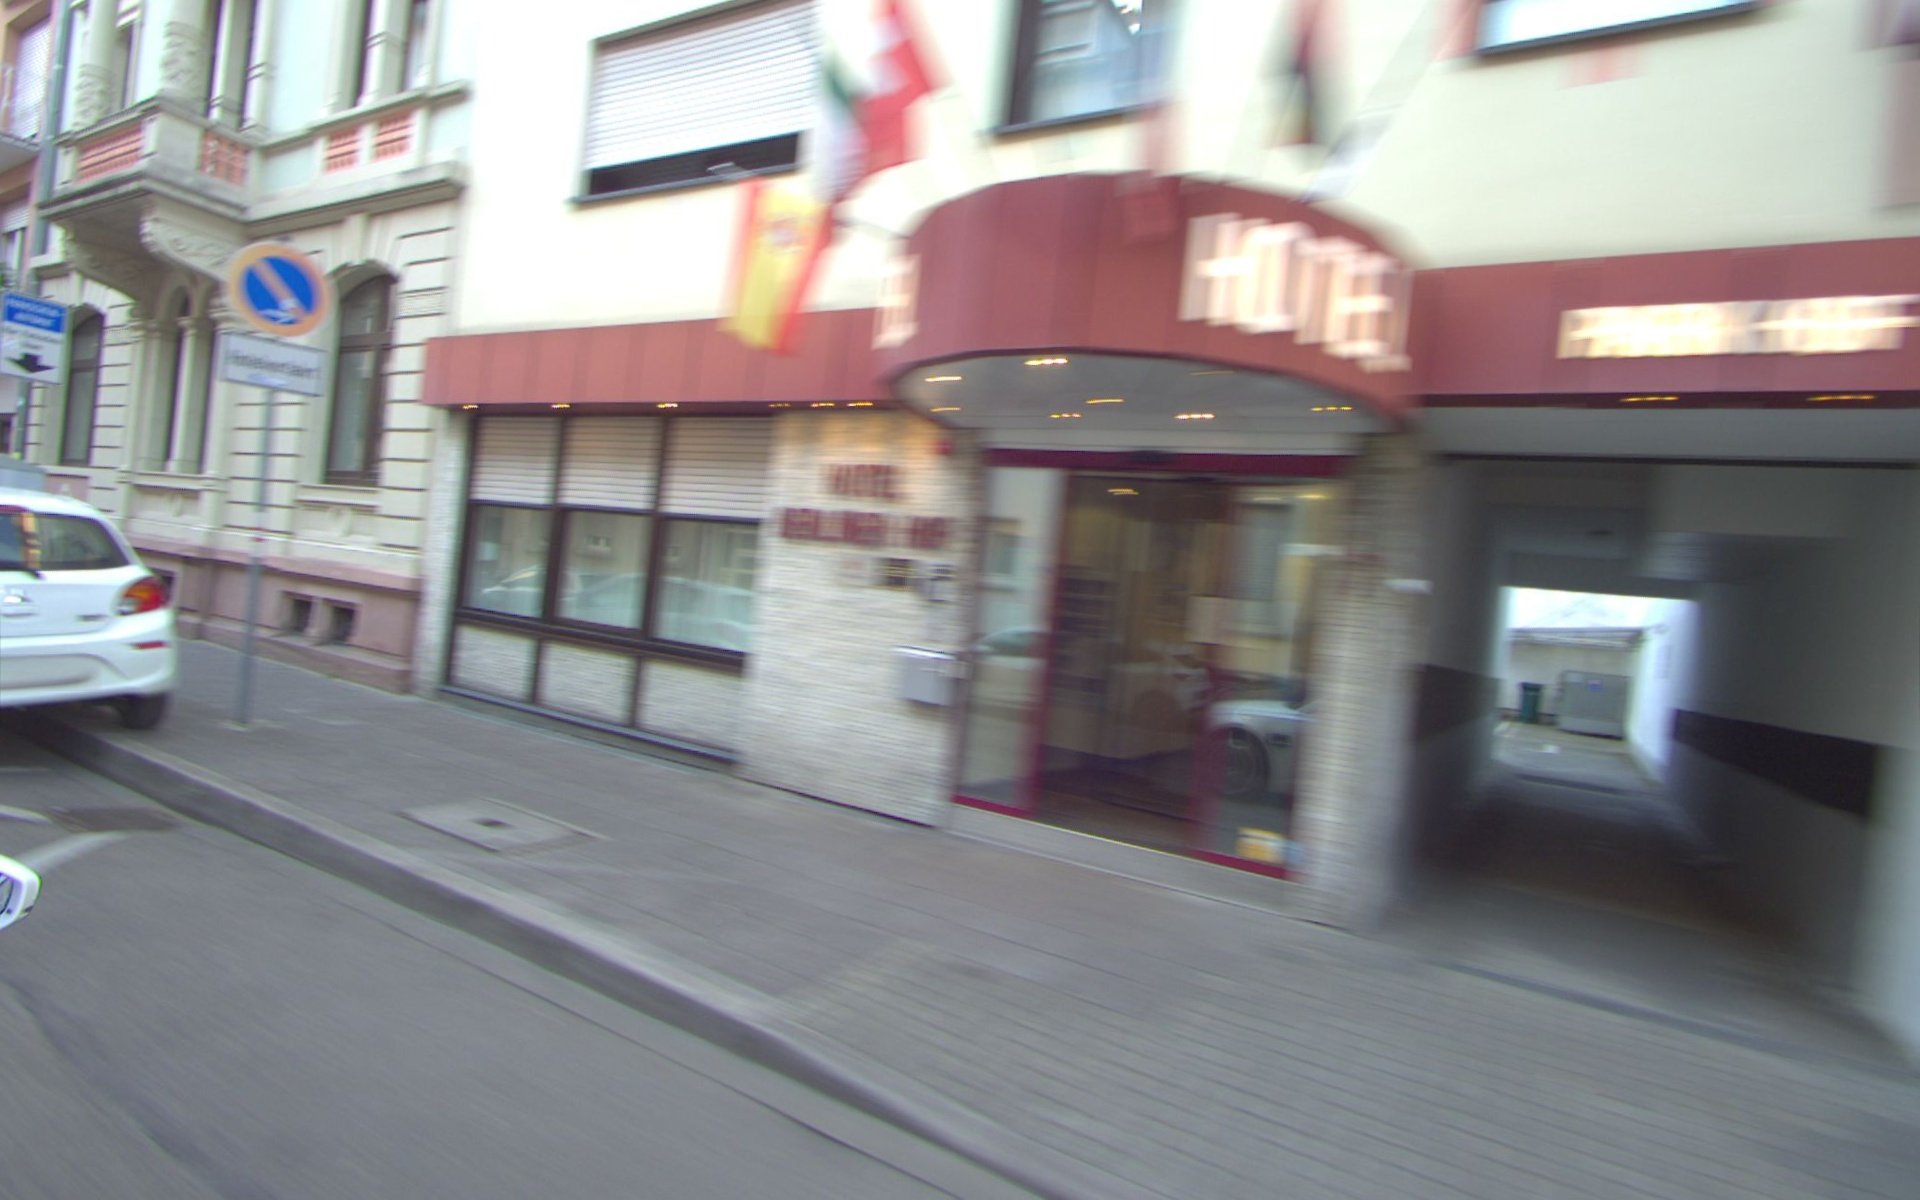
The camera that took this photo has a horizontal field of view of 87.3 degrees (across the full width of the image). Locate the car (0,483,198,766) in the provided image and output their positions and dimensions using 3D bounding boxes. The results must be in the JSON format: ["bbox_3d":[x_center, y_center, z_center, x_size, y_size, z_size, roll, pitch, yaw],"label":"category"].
[{"bbox_3d":[-6.725,-0.009,6.508,3.697,1.480,1.660,7,6,32],"label":"car"}]
